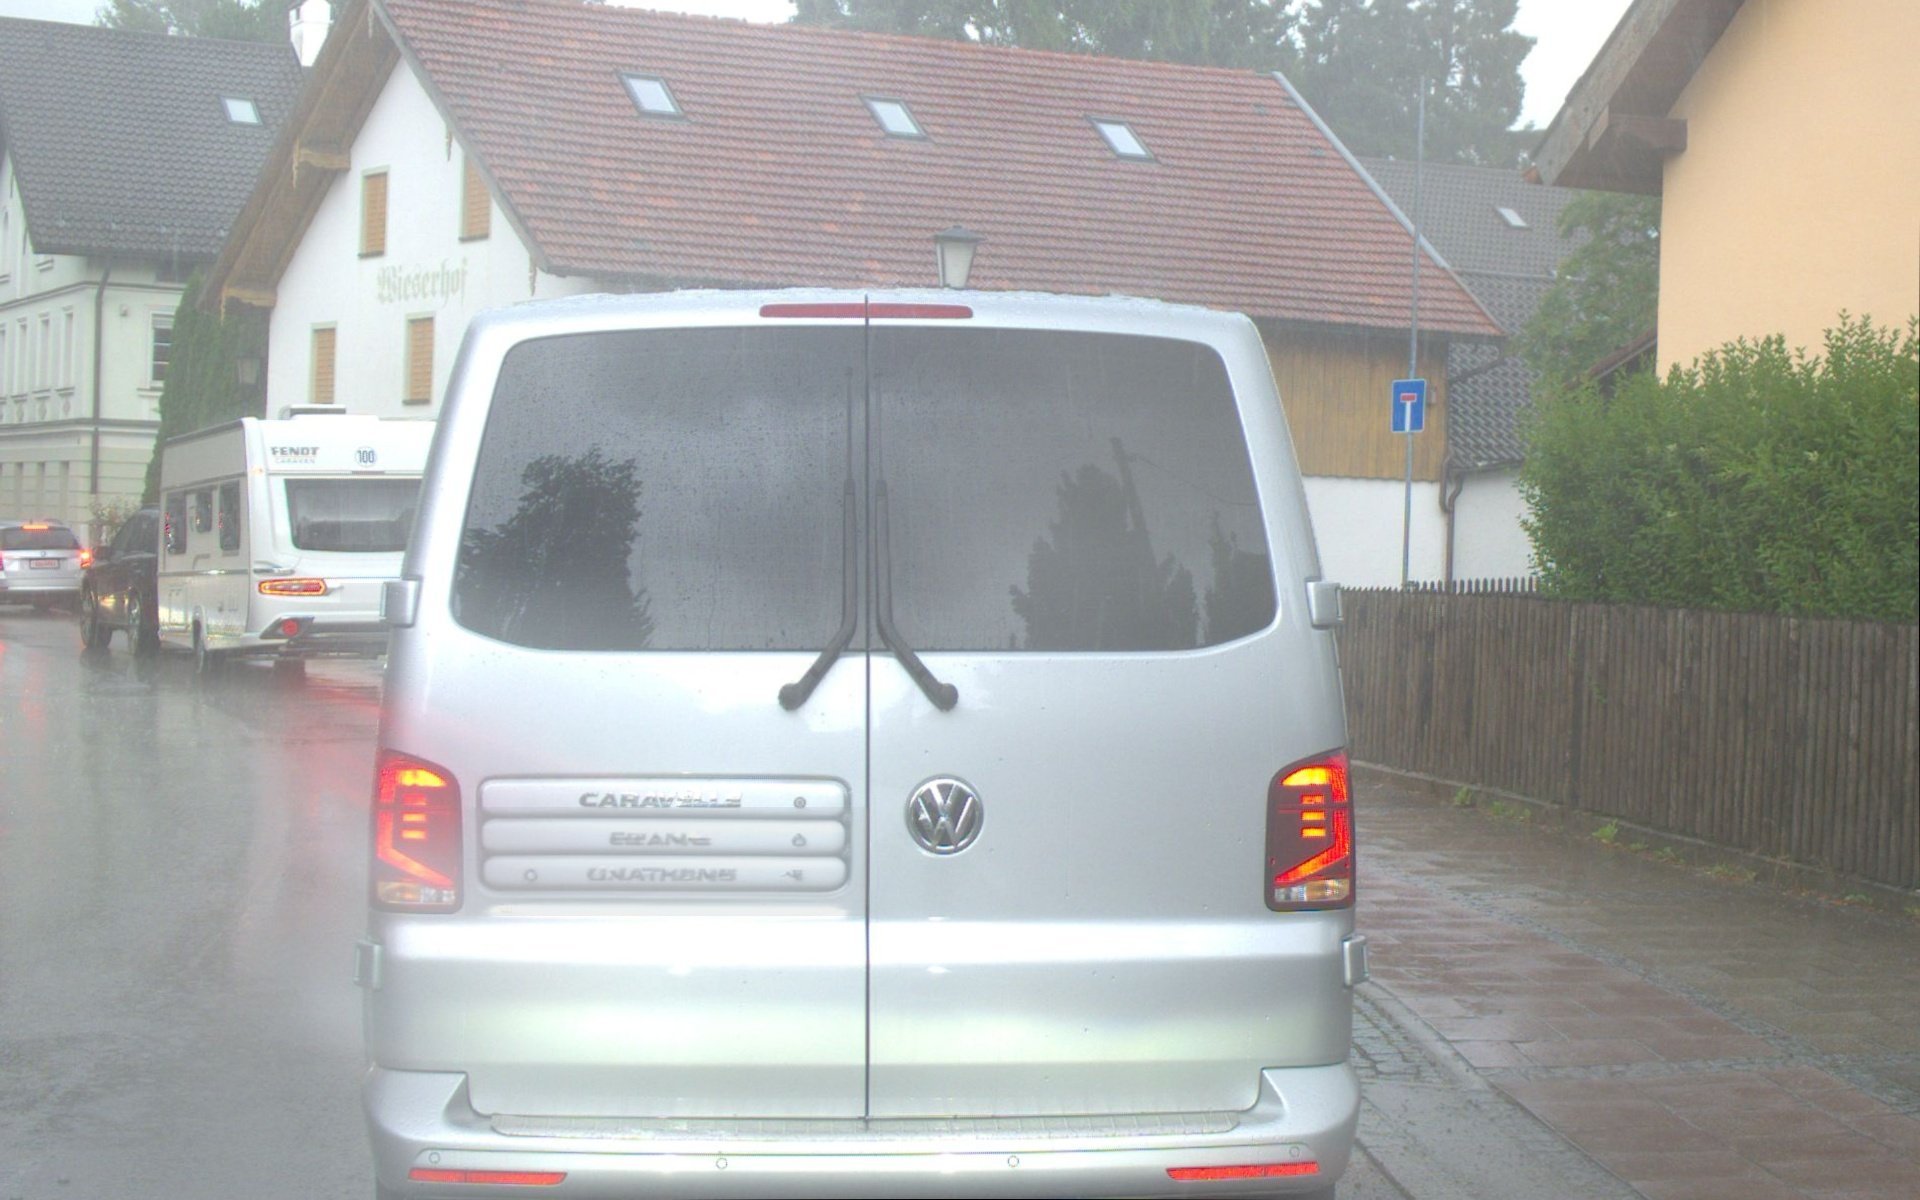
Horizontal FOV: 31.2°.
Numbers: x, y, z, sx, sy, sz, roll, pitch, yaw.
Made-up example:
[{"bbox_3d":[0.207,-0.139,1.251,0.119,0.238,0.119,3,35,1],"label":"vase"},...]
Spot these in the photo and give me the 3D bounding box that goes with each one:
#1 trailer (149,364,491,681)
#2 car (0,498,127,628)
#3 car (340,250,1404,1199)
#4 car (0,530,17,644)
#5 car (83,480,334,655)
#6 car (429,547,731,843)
[{"bbox_3d":[-6.572,-0.762,34.631,2.270,2.894,6.134,0,1,-21],"label":"trailer"},{"bbox_3d":[-14.764,-0.592,53.932,2.168,1.893,5.015,2,0,-27],"label":"car"},{"bbox_3d":[-0.157,0.353,8.306,1.776,1.956,5.074,0,1,0],"label":"car"},{"bbox_3d":[-17.987,-0.333,59.555,2.168,1.892,5.015,2,1,-27],"label":"car"},{"bbox_3d":[-8.786,-0.399,39.848,2.053,1.892,5.177,0,1,-21],"label":"car"},{"bbox_3d":[-2.447,0.508,22.130,1.708,1.578,4.687,-1,2,-6],"label":"car"}]
